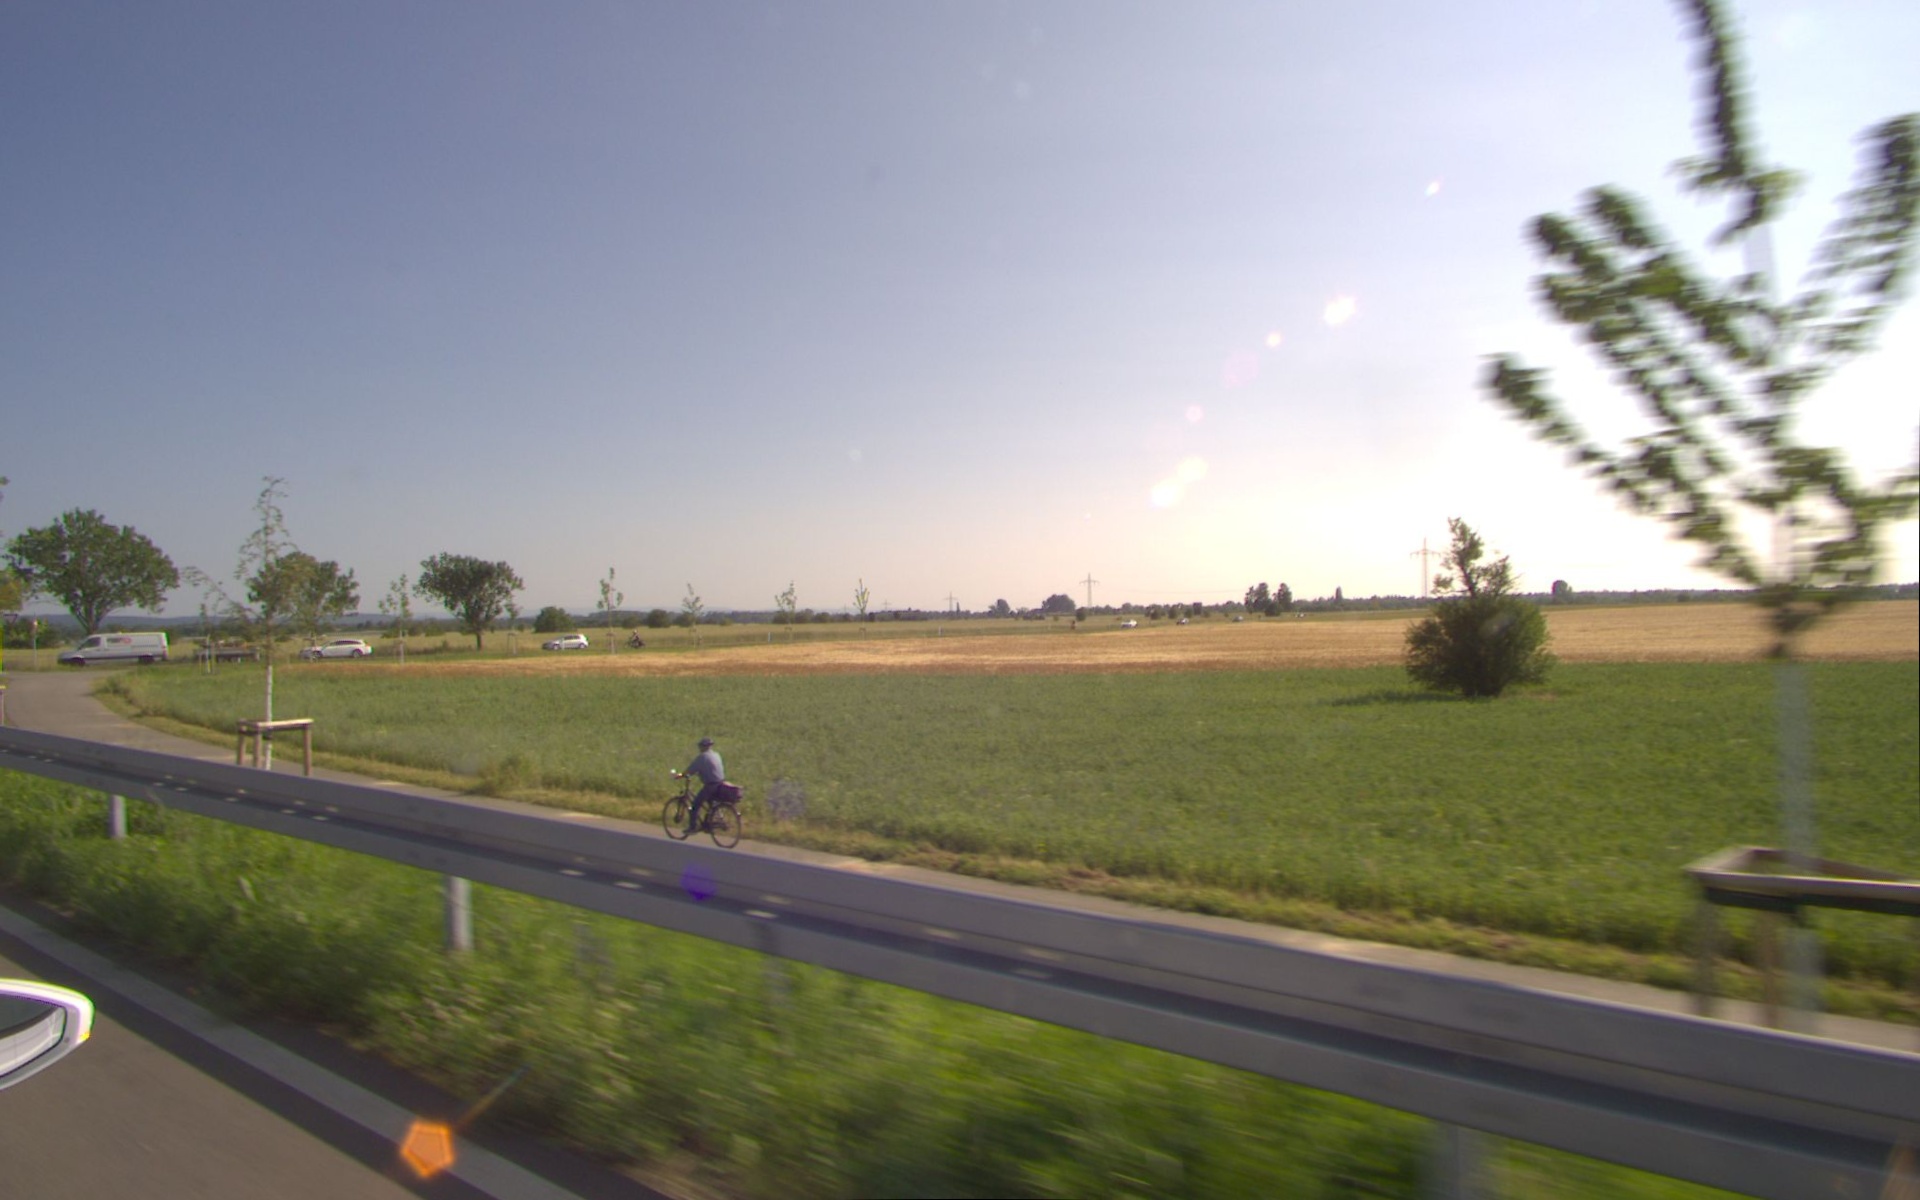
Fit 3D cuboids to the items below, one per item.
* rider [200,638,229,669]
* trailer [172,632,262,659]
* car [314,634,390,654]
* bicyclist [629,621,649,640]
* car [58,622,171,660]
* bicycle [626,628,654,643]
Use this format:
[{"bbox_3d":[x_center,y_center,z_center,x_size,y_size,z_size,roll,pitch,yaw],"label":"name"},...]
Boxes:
[{"bbox_3d":[-41.577,2.968,55.841,0.972,1.665,0.821,-1,1,3],"label":"rider"},{"bbox_3d":[-54.508,3.340,73.514,5.219,1.775,1.938,0,-2,-40],"label":"trailer"},{"bbox_3d":[-48.185,3.466,79.445,4.836,1.528,1.982,2,-4,-43],"label":"car"},{"bbox_3d":[-27.882,2.623,86.953,1.270,1.622,1.154,0,-1,-43],"label":"bicyclist"},{"bbox_3d":[-58.835,2.881,69.845,5.912,2.523,1.984,2,-4,-40],"label":"car"},{"bbox_3d":[-27.846,3.078,87.090,2.141,1.201,0.882,1,-3,-43],"label":"bicycle"}]
